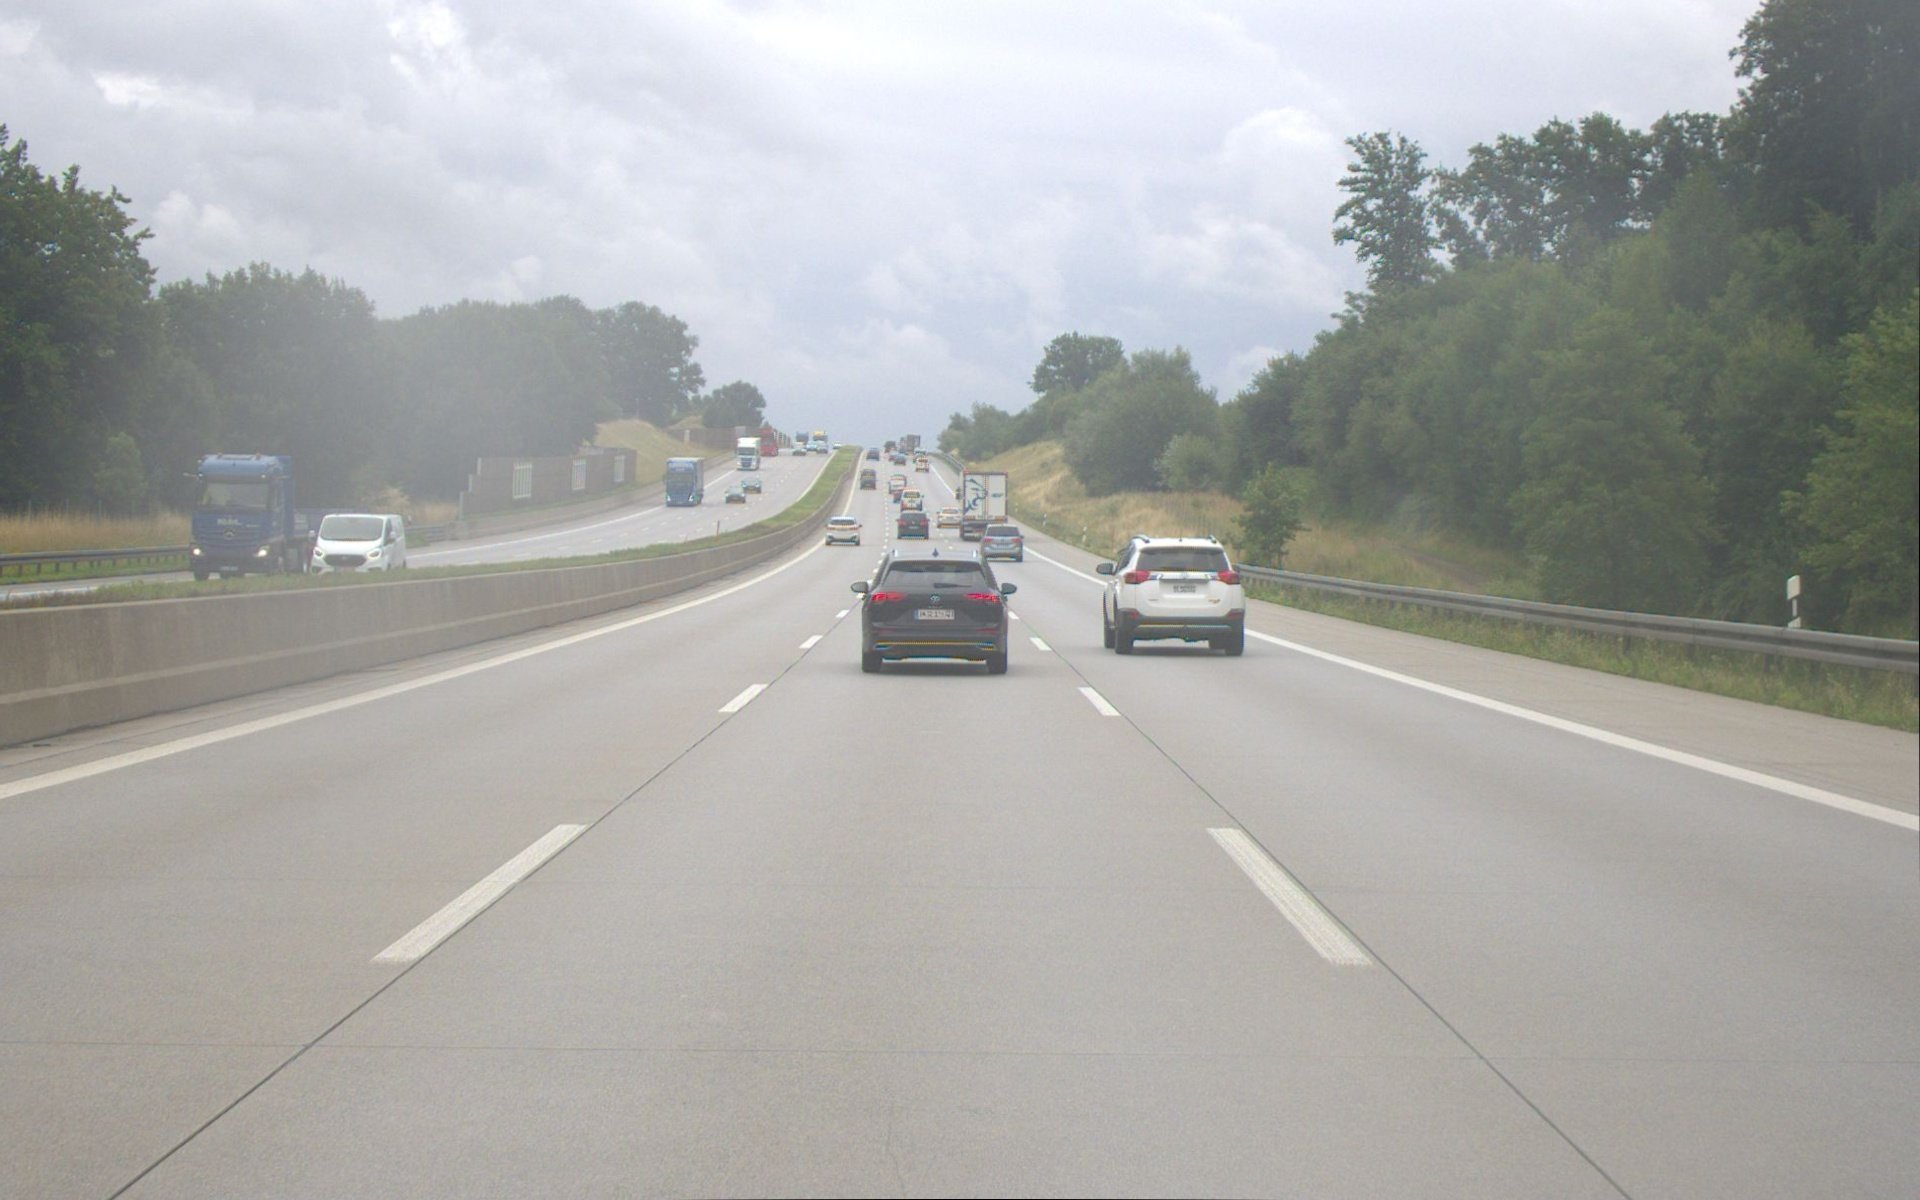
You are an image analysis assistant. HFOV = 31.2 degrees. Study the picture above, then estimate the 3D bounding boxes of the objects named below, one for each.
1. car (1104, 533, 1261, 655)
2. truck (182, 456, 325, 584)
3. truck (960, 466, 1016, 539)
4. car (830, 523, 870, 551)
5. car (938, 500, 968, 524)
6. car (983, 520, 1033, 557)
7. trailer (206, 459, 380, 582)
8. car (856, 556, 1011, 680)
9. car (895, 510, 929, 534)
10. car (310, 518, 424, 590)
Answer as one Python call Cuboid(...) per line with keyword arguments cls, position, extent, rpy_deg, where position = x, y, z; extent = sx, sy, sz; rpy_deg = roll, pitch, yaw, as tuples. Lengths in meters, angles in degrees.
Cuboid(cls="car", position=(3.141, -0.105, 49.283), extent=(1.825, 1.650, 3.985), rpy_deg=(1, 1, -2))
Cuboid(cls="truck", position=(-20.276, -2.264, 99.028), extent=(2.756, 3.505, 6.641), rpy_deg=(1, 1, -1))
Cuboid(cls="truck", position=(1.616, -5.759, 202.442), extent=(3.017, 4.166, 8.355), rpy_deg=(1, 2, -1))
Cuboid(cls="car", position=(-5.926, -3.383, 185.636), extent=(1.947, 1.351, 4.259), rpy_deg=(0, -1, 0))
Cuboid(cls="car", position=(-0.485, -6.224, 242.855), extent=(1.993, 1.634, 4.000), rpy_deg=(1, 2, 1))
Cuboid(cls="car", position=(2.062, -2.655, 149.127), extent=(1.993, 1.525, 4.000), rpy_deg=(1, 1, -1))
Cuboid(cls="trailer", position=(-20.358, -2.373, 105.856), extent=(2.785, 3.495, 13.886), rpy_deg=(1, 1, -1))
Cuboid(cls="car", position=(-0.288, 0.200, 41.706), extent=(1.752, 1.393, 4.484), rpy_deg=(1, 0, 0))
Cuboid(cls="car", position=(-2.863, -4.678, 205.974), extent=(1.935, 1.370, 4.595), rpy_deg=(1, 1, 0))
Cuboid(cls="car", position=(-15.526, -1.218, 90.282), extent=(2.088, 1.795, 5.498), rpy_deg=(1, 1, -1))
